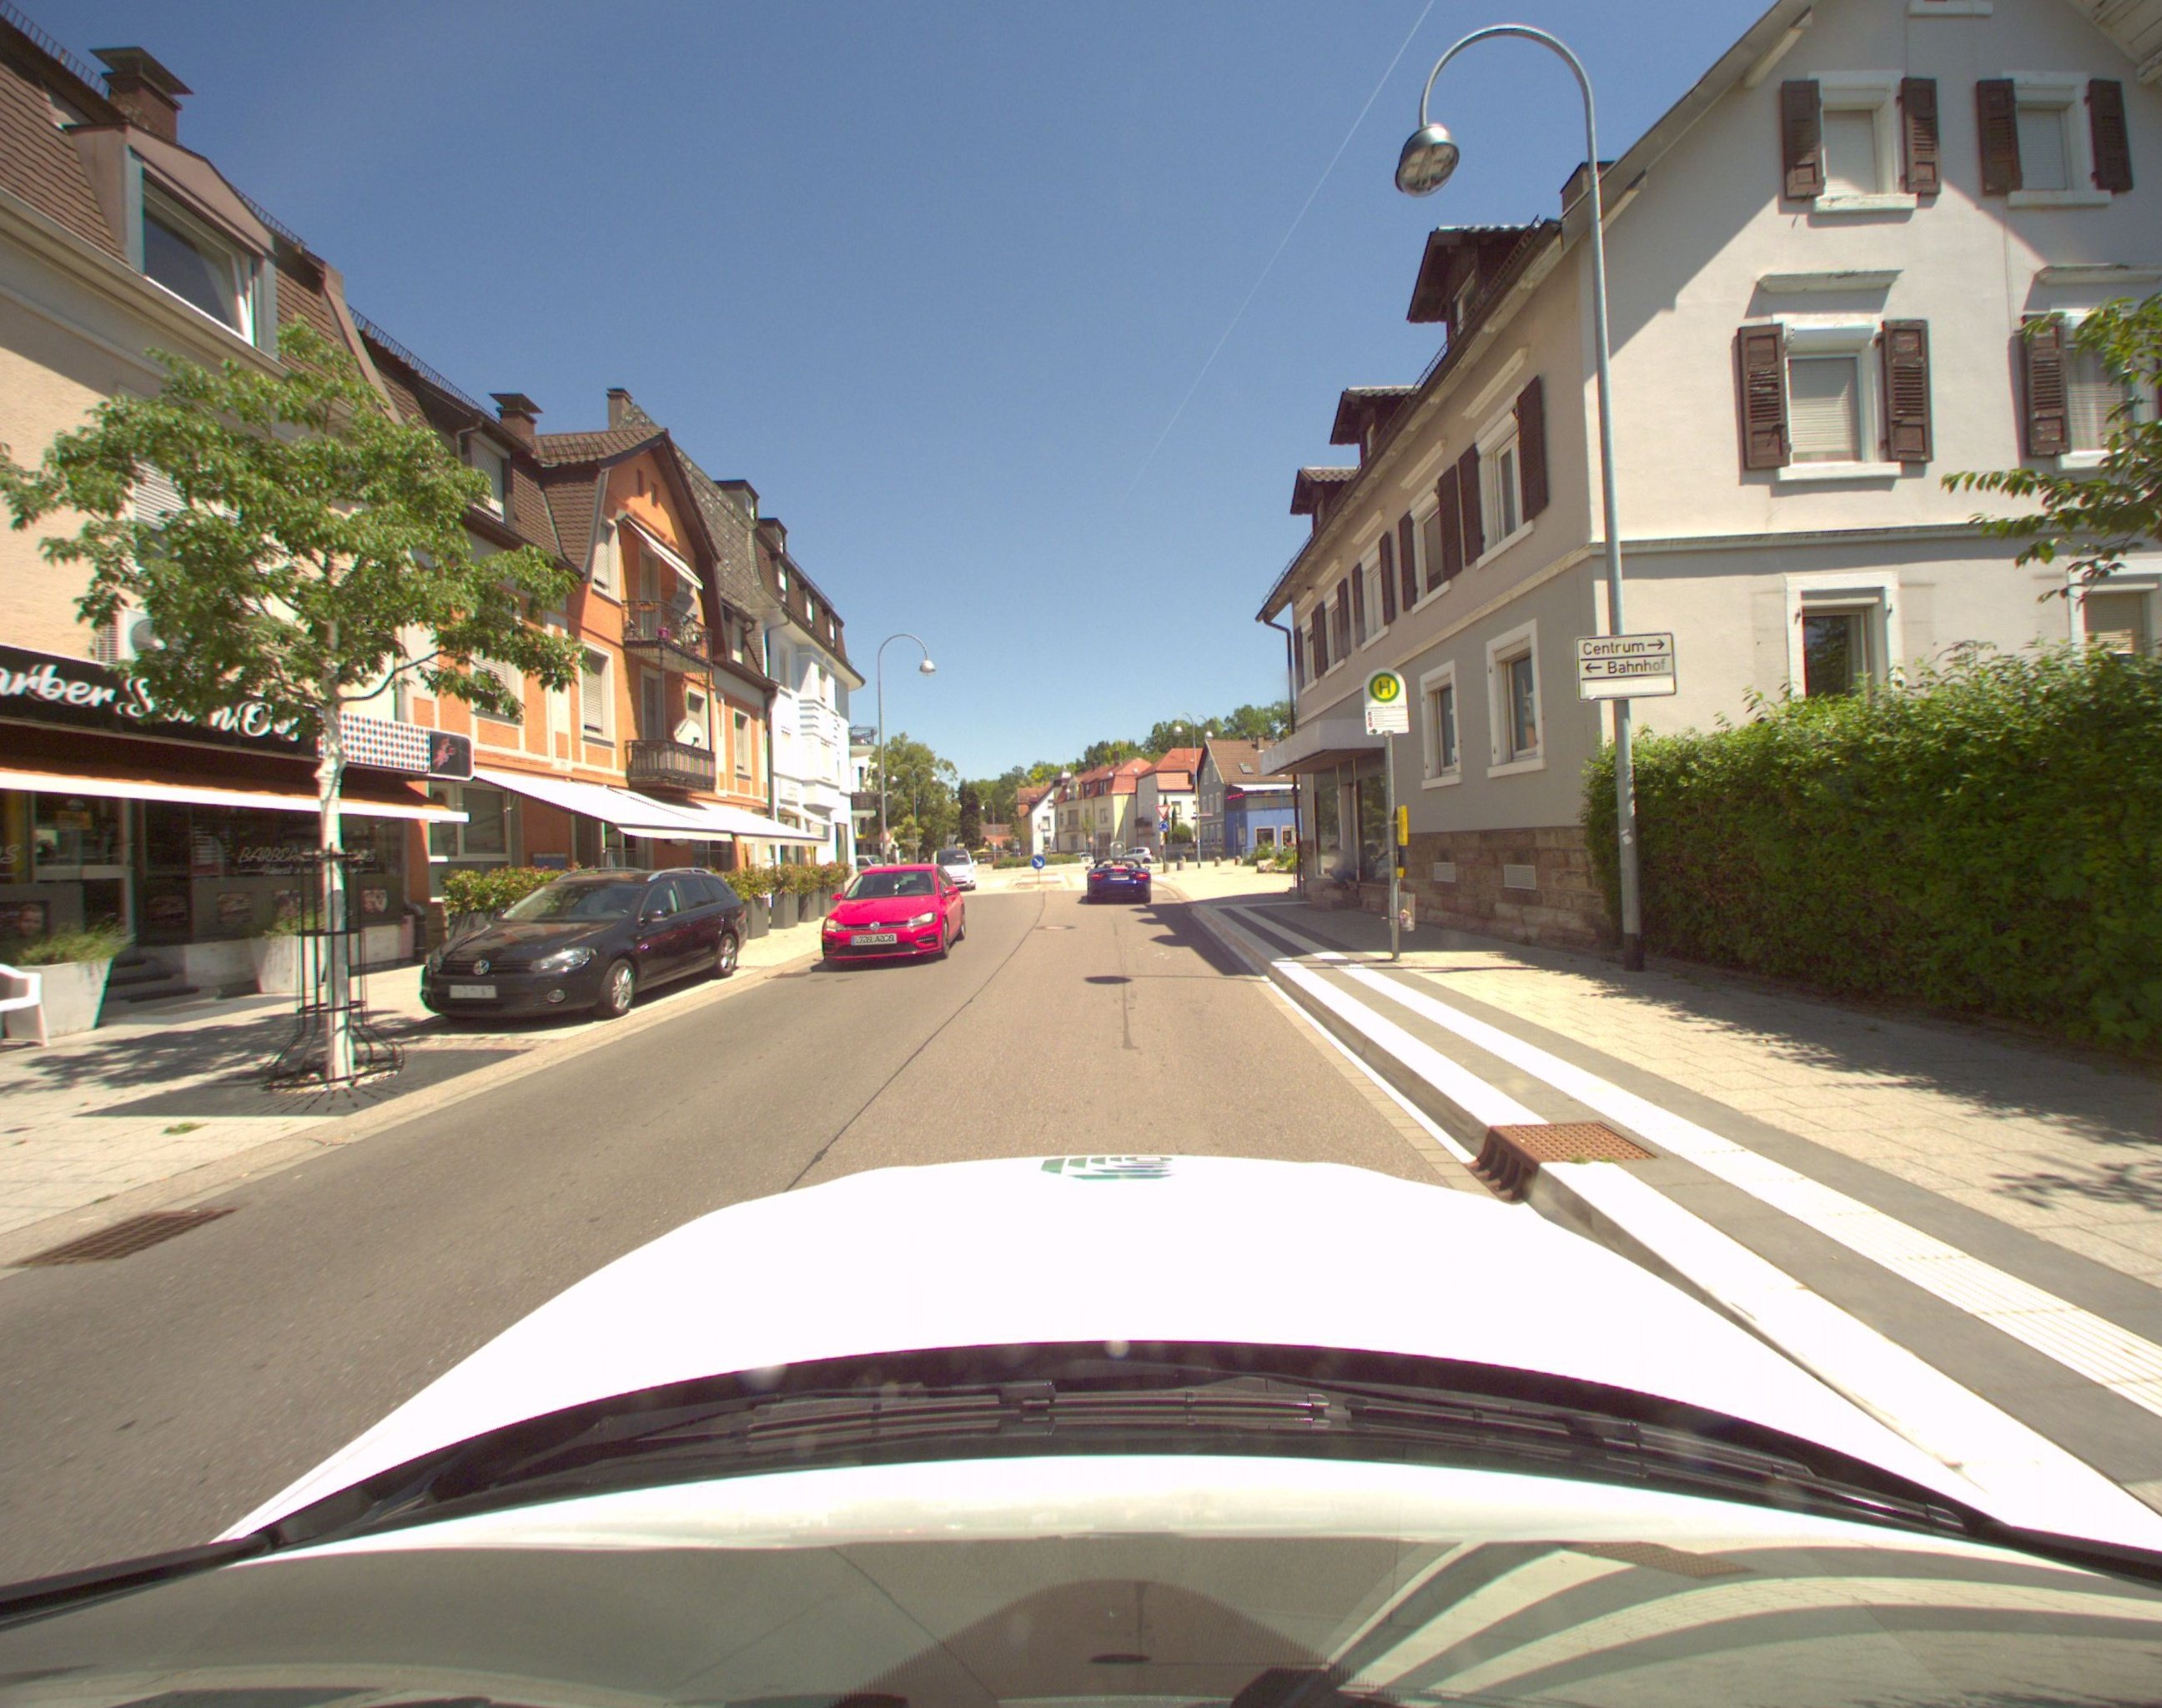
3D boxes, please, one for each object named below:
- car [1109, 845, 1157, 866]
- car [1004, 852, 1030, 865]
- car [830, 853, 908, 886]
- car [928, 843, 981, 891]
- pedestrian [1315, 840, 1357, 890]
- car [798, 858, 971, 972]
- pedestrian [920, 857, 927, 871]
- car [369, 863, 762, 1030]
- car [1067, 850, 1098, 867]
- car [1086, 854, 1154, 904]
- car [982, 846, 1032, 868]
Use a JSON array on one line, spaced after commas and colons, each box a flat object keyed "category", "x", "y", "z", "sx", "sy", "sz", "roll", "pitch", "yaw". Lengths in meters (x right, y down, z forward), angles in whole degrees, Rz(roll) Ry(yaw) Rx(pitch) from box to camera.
[{"category": "car", "x": 4.115, "y": 0.127, "z": 64.279, "sx": 3.432, "sy": 1.450, "sz": 1.587, "roll": -3, "pitch": 0, "yaw": 16}, {"category": "car", "x": -8.791, "y": 0.594, "z": 111.566, "sx": 1.862, "sy": 1.588, "sz": 3.962, "roll": -4, "pitch": 0, "yaw": -29}, {"category": "car", "x": -12.986, "y": 0.941, "z": 49.964, "sx": 4.185, "sy": 1.875, "sz": 1.771, "roll": -1, "pitch": 1, "yaw": 15}, {"category": "car", "x": -5.408, "y": 0.513, "z": 35.042, "sx": 1.993, "sy": 1.822, "sz": 4.403, "roll": -4, "pitch": 0, "yaw": -8}, {"category": "pedestrian", "x": 5.368, "y": 0.220, "z": 17.176, "sx": 0.588, "sy": 0.999, "sz": 0.724, "roll": -3, "pitch": 0, "yaw": -1}, {"category": "car", "x": -2.994, "y": 0.850, "z": 13.298, "sx": 1.911, "sy": 1.426, "sz": 3.976, "roll": -4, "pitch": 0, "yaw": -2}, {"category": "pedestrian", "x": -18.430, "y": 1.212, "z": 95.444, "sx": 0.531, "sy": 1.575, "sz": 0.564, "roll": -3, "pitch": 0, "yaw": 11}, {"category": "car", "x": -5.657, "y": 0.890, "z": 9.766, "sx": 1.909, "sy": 1.481, "sz": 4.337, "roll": 0, "pitch": 0, "yaw": 0}, {"category": "car", "x": 0.097, "y": 0.494, "z": 84.397, "sx": 1.924, "sy": 1.613, "sz": 4.121, "roll": -3, "pitch": -1, "yaw": -19}, {"category": "car", "x": 1.185, "y": 0.715, "z": 25.163, "sx": 1.903, "sy": 1.360, "sz": 4.288, "roll": -1, "pitch": 0, "yaw": 2}, {"category": "car", "x": -5.122, "y": 0.251, "z": 55.626, "sx": 2.004, "sy": 1.329, "sz": 4.164, "roll": -3, "pitch": 0, "yaw": -26}]
